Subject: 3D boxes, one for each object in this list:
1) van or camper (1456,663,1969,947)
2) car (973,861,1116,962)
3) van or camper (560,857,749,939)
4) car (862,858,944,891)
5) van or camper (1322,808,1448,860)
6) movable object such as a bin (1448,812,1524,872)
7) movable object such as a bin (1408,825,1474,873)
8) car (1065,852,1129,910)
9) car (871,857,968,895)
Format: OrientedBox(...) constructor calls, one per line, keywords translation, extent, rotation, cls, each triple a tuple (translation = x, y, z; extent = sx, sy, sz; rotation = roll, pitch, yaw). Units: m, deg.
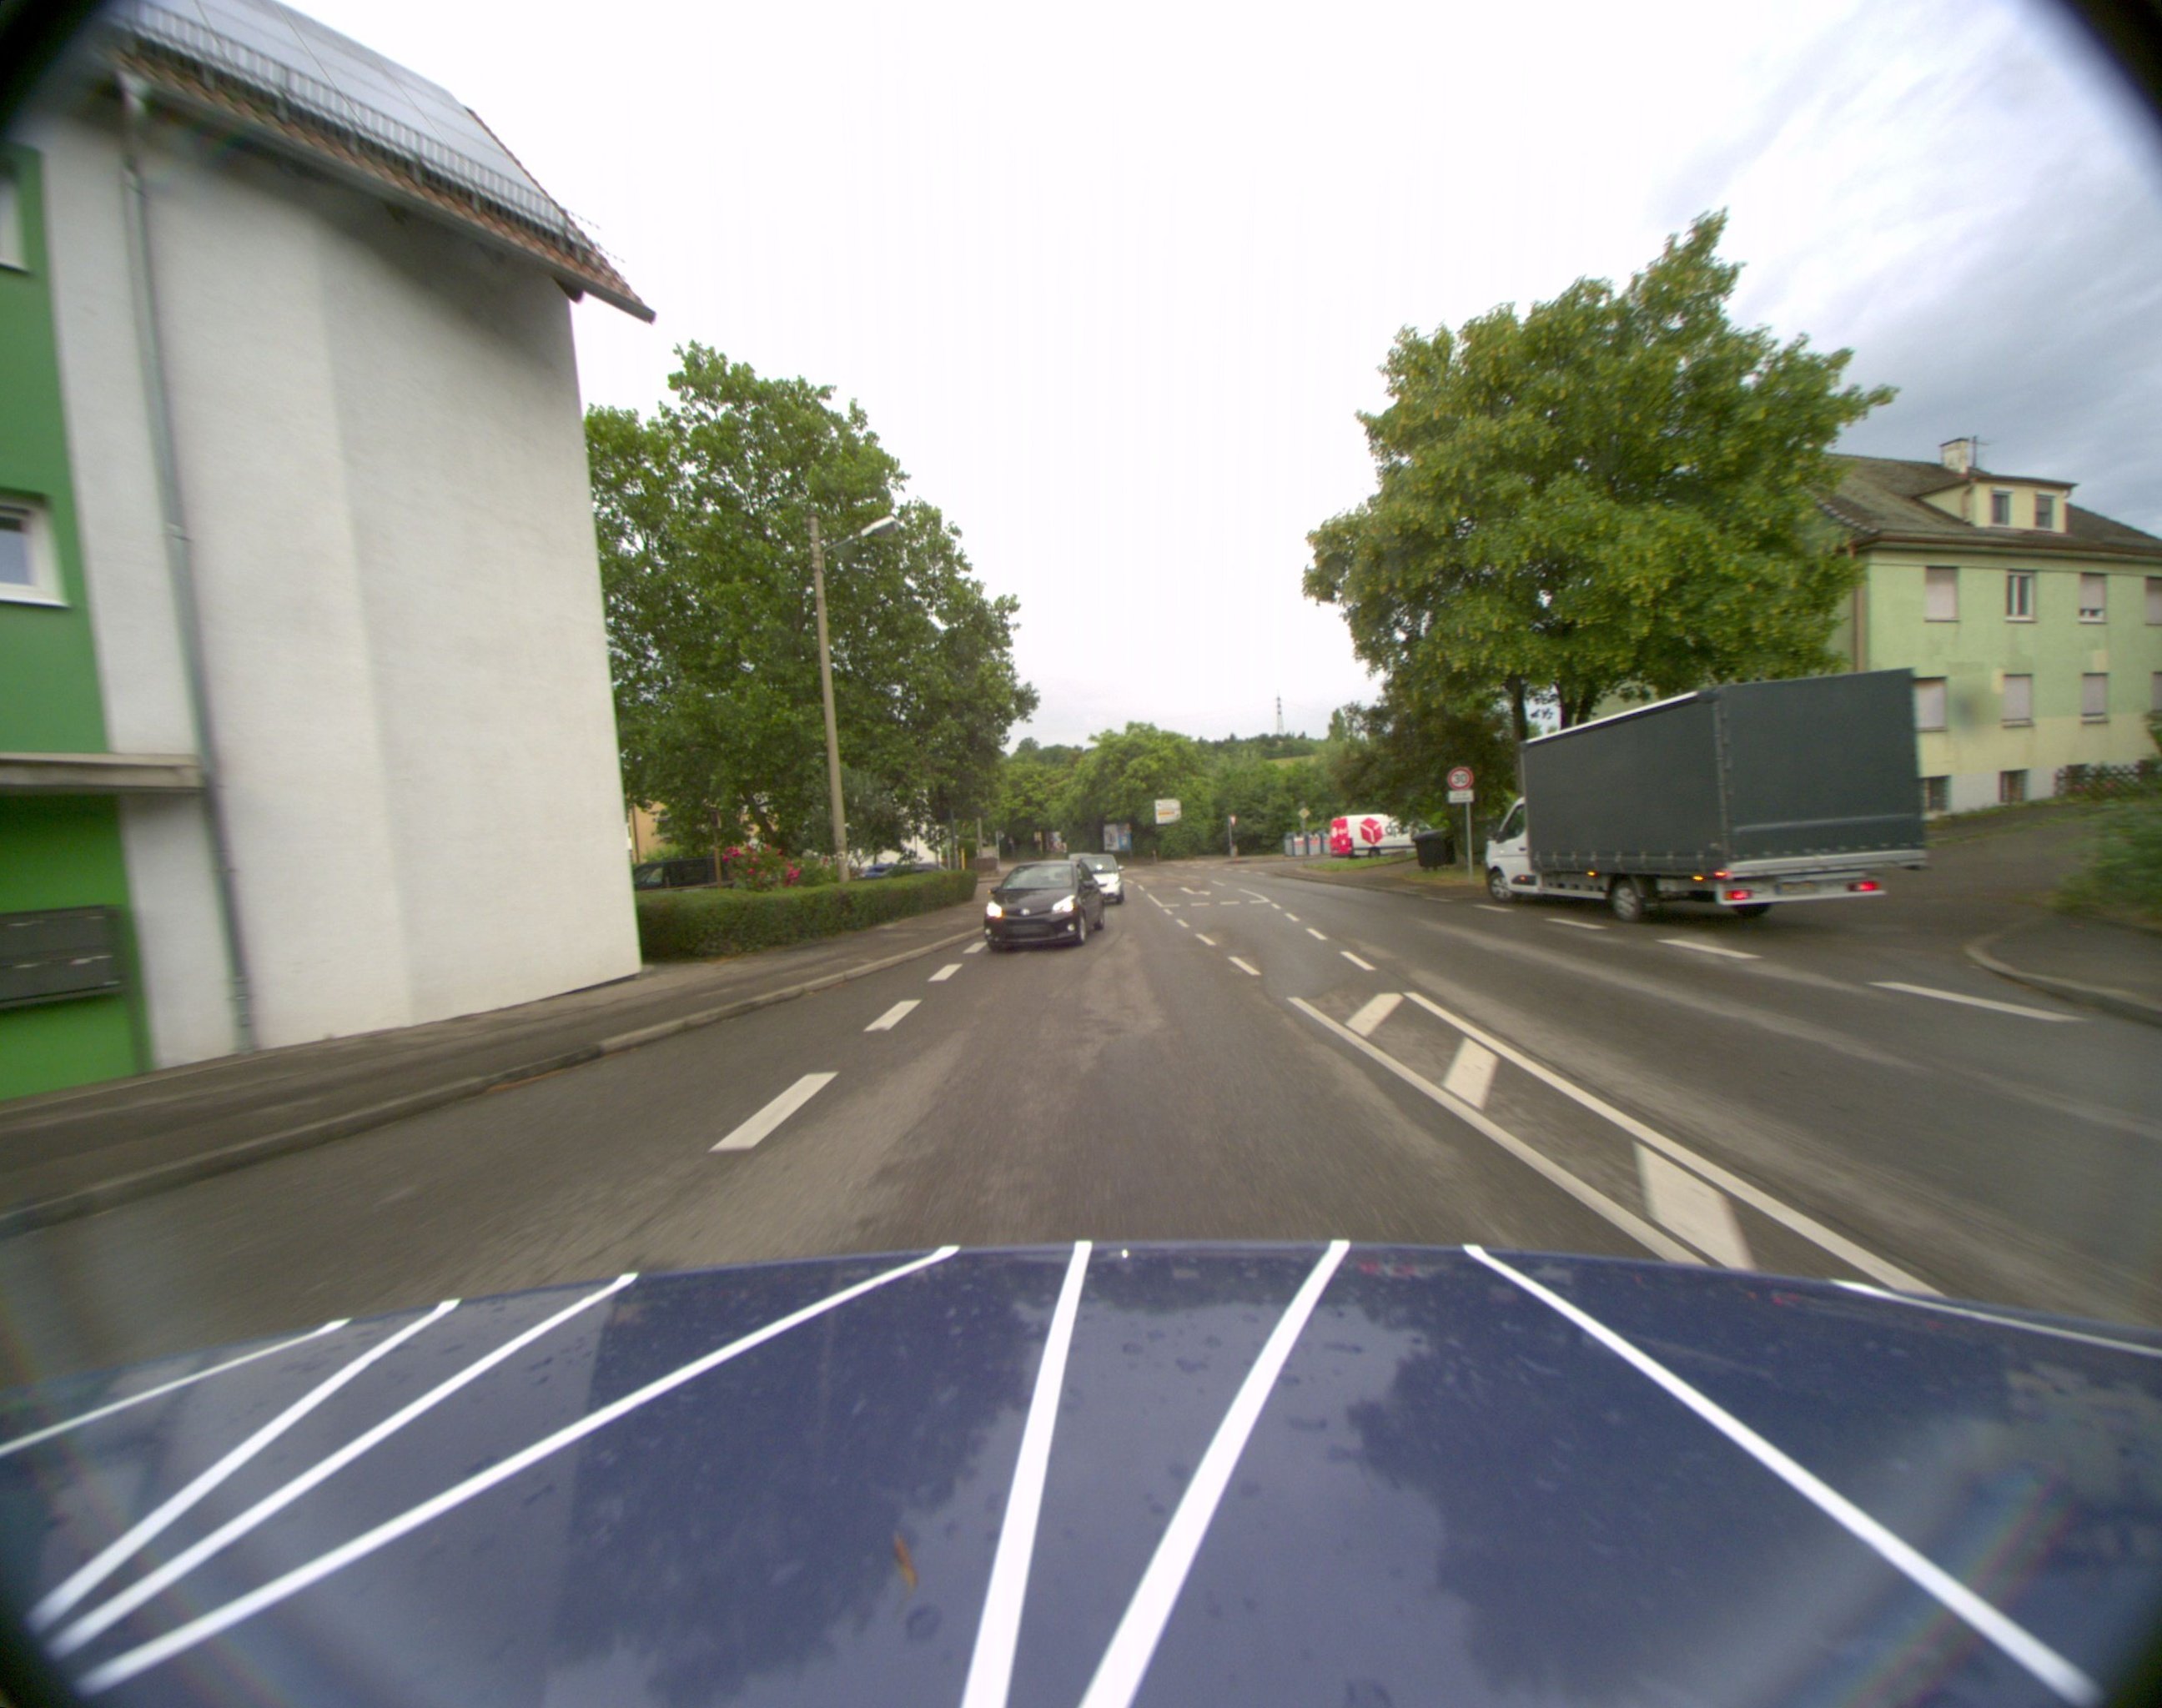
OrientedBox(translation=(9.679, -0.642, 13.238), extent=(2.704, 3.315, 7.762), rotation=(-4, 1, 4), cls="van or camper")
OrientedBox(translation=(-0.519, 0.959, 14.325), extent=(1.643, 1.450, 4.003), rotation=(-4, 0, 12), cls="car")
OrientedBox(translation=(-12.029, 1.175, 21.820), extent=(4.331, 1.893, 1.997), rotation=(-4, 1, -19), cls="van or camper")
OrientedBox(translation=(-9.515, 1.053, 40.527), extent=(4.003, 1.456, 1.858), rotation=(-3, 1, -20), cls="car")
OrientedBox(translation=(17.536, -1.168, 43.790), extent=(6.701, 2.507, 2.220), rotation=(-4, 1, -17), cls="van or camper")
OrientedBox(translation=(13.172, -0.389, 24.715), extent=(1.580, 1.750, 1.451), rotation=(-5, -2, -35), cls="movable object such as a bin")
OrientedBox(translation=(12.278, -0.167, 25.942), extent=(1.475, 1.432, 1.374), rotation=(-5, -2, -35), cls="movable object such as a bin")
OrientedBox(translation=(0.571, 0.786, 23.908), extent=(1.644, 1.548, 3.629), rotation=(-4, 1, 5), cls="car")
OrientedBox(translation=(-8.018, 1.078, 37.738), extent=(4.396, 1.505, 1.997), rotation=(-4, 1, -20), cls="car")
